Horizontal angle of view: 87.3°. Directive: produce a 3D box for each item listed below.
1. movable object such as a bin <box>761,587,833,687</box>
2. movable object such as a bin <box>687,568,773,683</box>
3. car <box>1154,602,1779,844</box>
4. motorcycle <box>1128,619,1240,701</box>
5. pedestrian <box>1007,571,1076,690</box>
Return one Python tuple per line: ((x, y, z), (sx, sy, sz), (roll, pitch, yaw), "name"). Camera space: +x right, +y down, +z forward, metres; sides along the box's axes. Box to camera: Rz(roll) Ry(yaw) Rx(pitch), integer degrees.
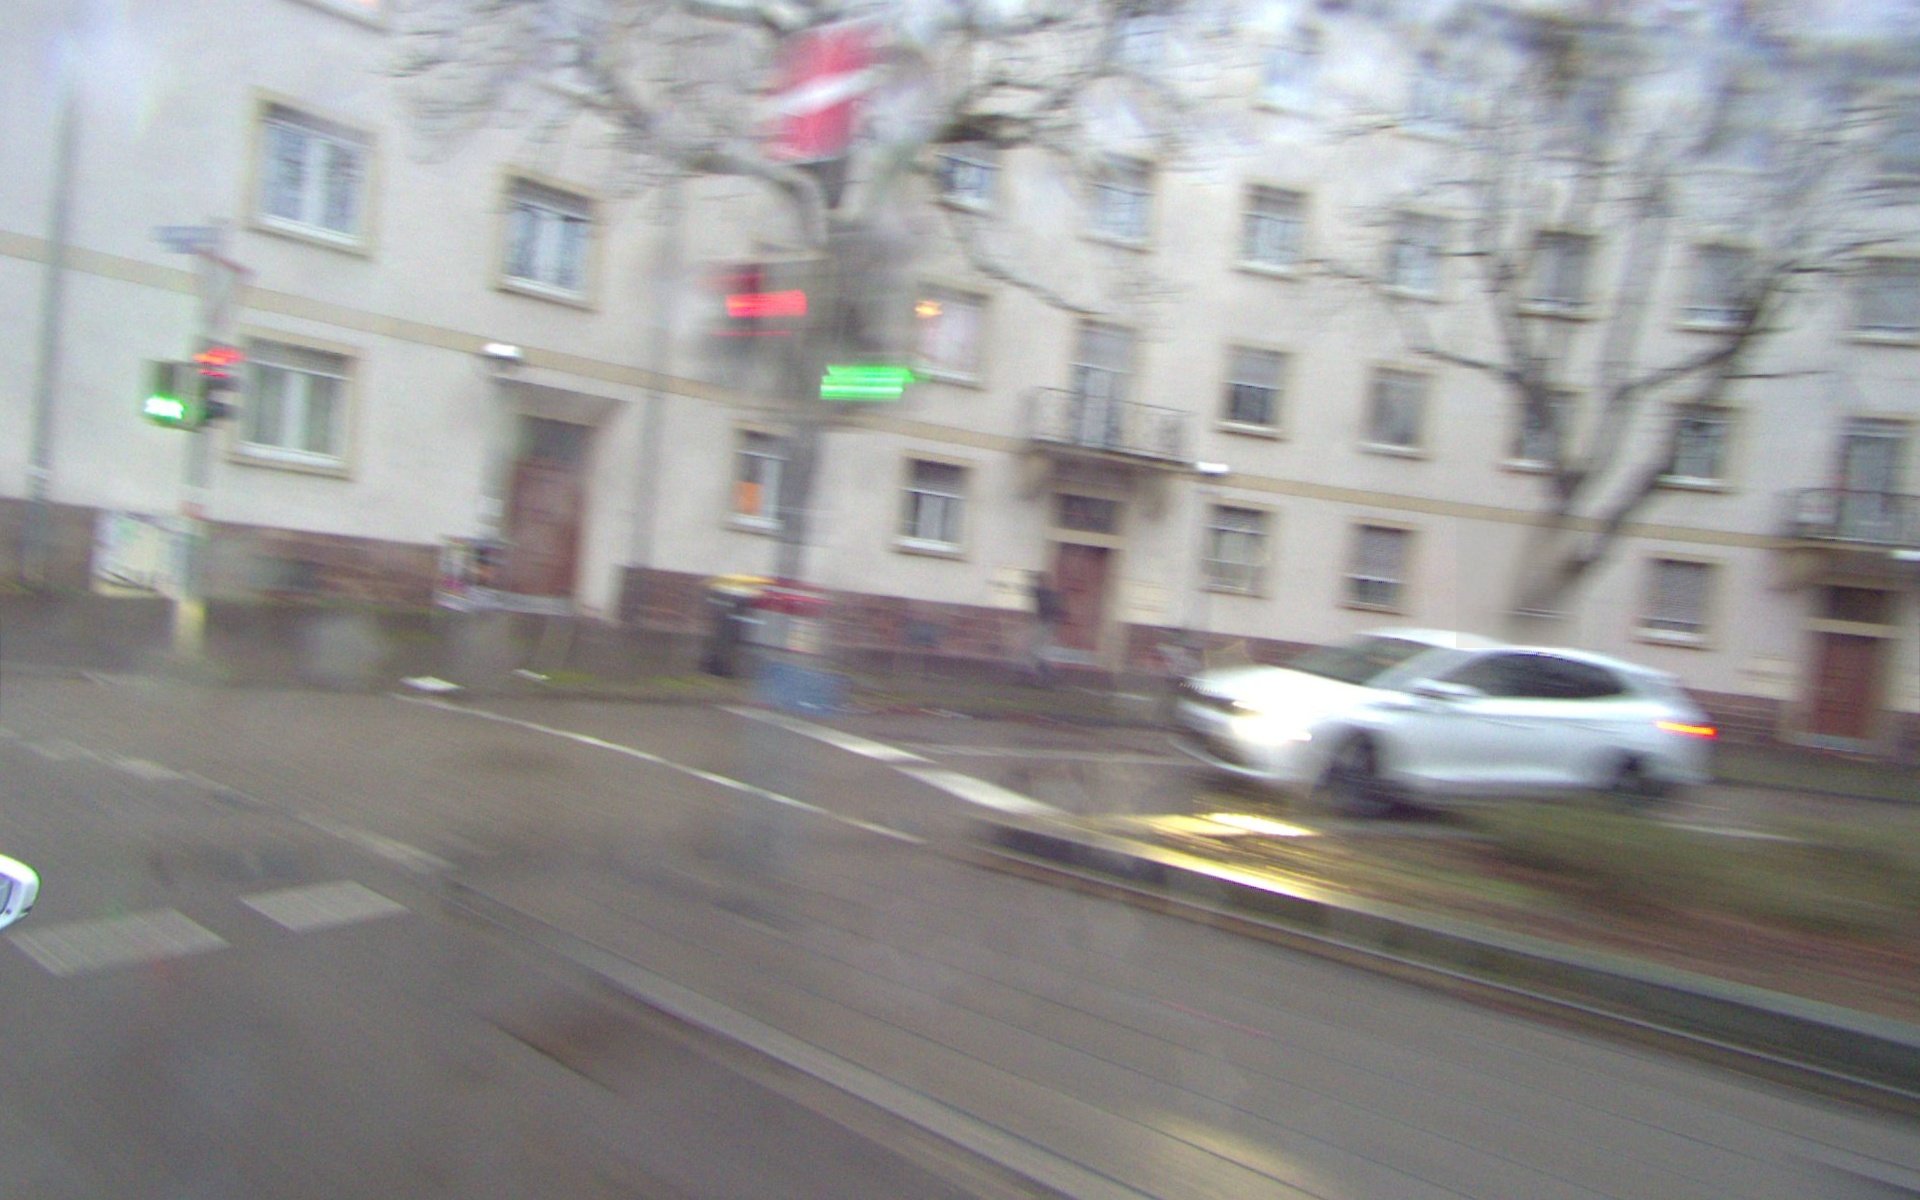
((-2.028, 0.455, 12.473), (0.690, 1.133, 0.537), (8, -1, -15), "movable object such as a bin")
((-2.802, 0.305, 12.244), (0.841, 1.266, 0.520), (8, -1, -15), "movable object such as a bin")
((4.369, 1.040, 9.130), (4.669, 1.530, 1.896), (5, 2, -6), "car")
((3.667, 0.974, 16.511), (1.574, 1.121, 0.568), (7, 4, -3), "motorcycle")
((1.218, 0.450, 15.114), (0.703, 1.682, 0.686), (6, 2, -11), "pedestrian")
